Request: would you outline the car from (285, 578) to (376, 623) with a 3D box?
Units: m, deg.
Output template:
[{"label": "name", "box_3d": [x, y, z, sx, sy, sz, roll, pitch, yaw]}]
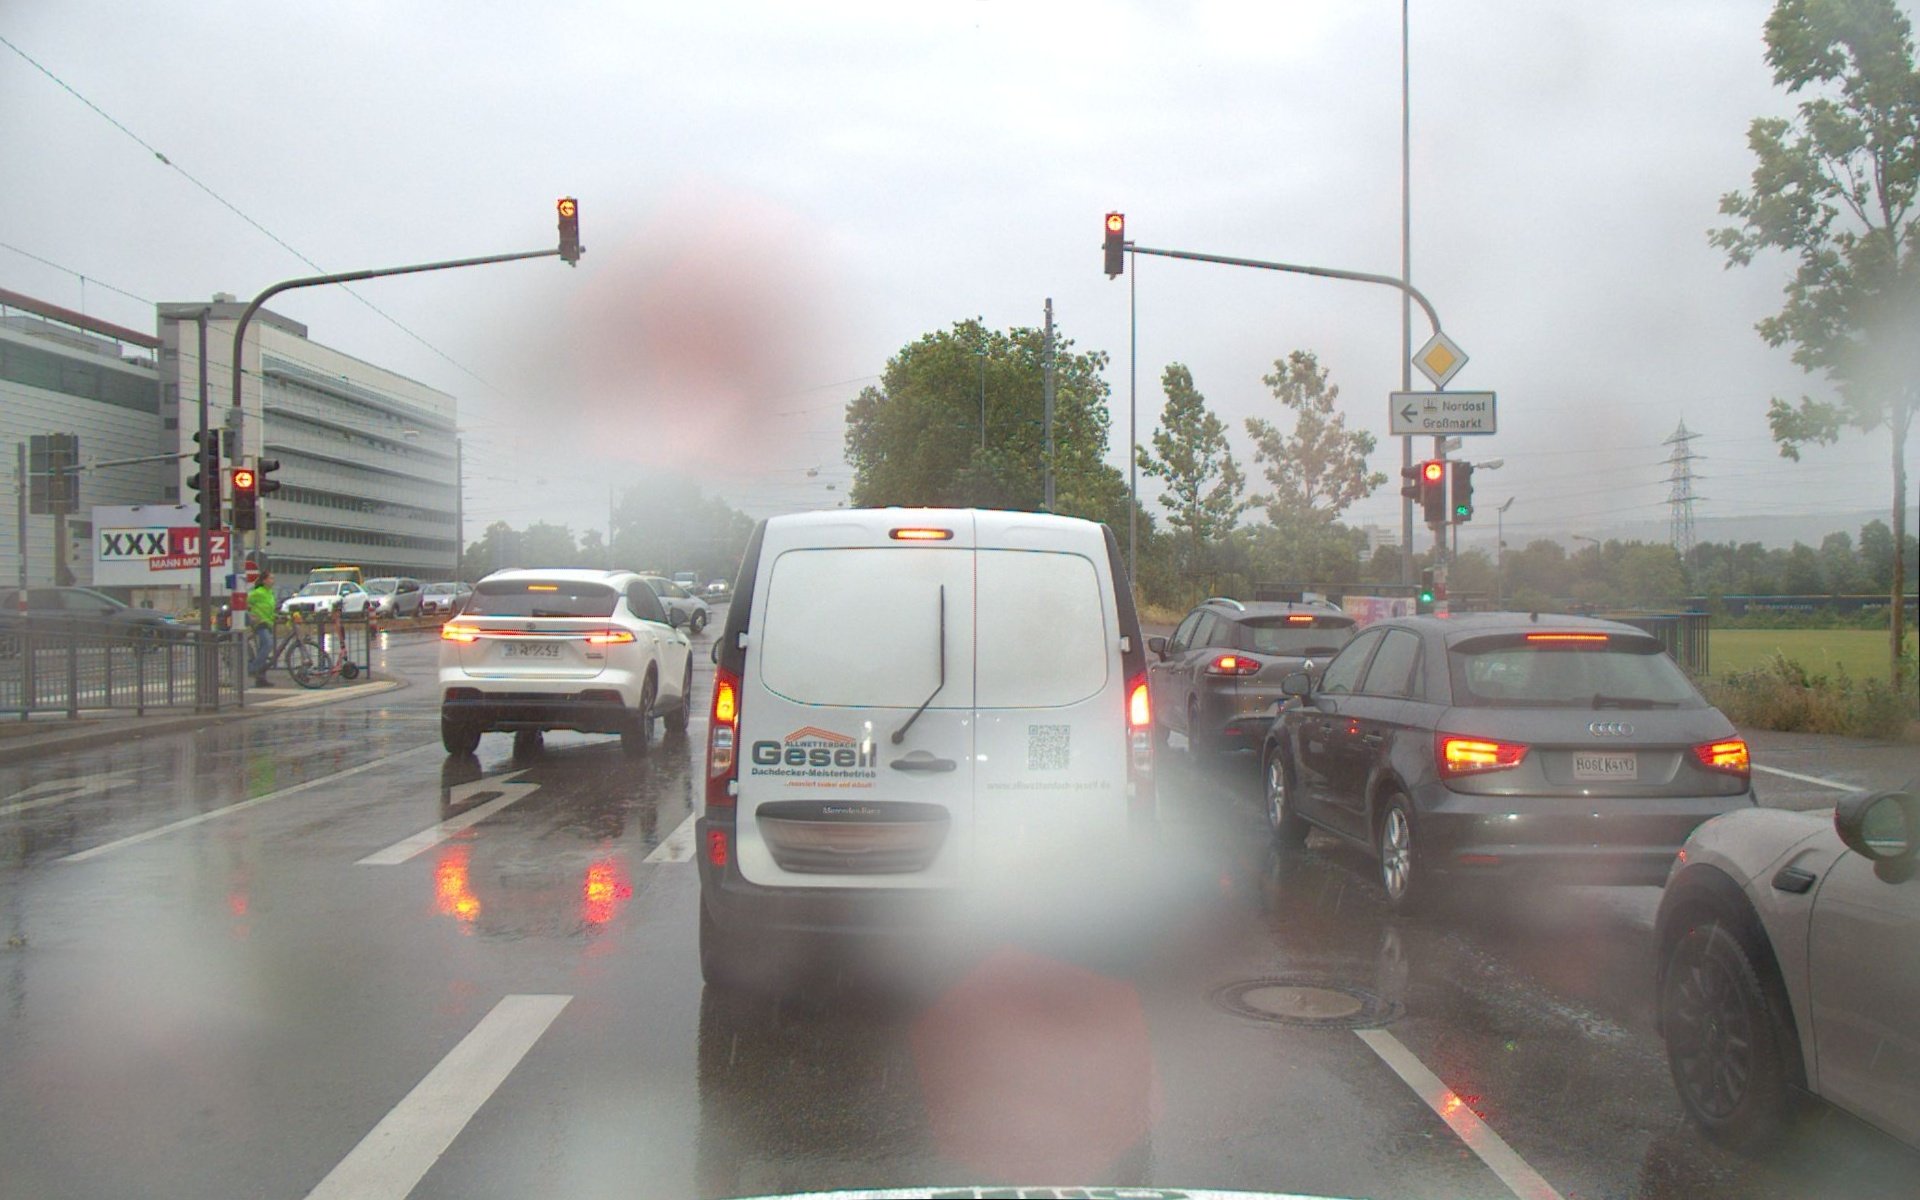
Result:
[{"label": "car", "box_3d": [-21.589, 0.044, 56.854, 1.676, 1.451, 3.808, 2, -1, -1]}]

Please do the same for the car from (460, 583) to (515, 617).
[{"label": "car", "box_3d": [-21.982, 0.023, 77.070, 1.528, 1.451, 3.568, 2, -1, -1]}]

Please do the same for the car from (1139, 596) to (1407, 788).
[{"label": "car", "box_3d": [2.779, 0.756, 15.509, 1.650, 1.534, 3.919, 1, 0, -2]}]

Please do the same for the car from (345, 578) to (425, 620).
[{"label": "car", "box_3d": [-21.767, -0.020, 62.758, 1.676, 1.451, 3.808, 2, -1, -1]}]

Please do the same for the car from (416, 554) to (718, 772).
[{"label": "car", "box_3d": [-3.674, 0.538, 16.353, 1.891, 1.806, 4.663, 1, 0, -1]}]

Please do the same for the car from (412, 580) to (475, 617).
[{"label": "car", "box_3d": [-21.822, -0.041, 69.992, 1.528, 1.451, 3.568, 2, -1, -1]}]

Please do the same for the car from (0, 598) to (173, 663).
[{"label": "car", "box_3d": [-18.656, 0.645, 35.108, 3.482, 1.229, 1.428, 3, -1, -27]}]

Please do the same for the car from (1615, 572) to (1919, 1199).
[{"label": "car", "box_3d": [2.934, 0.740, 3.244, 1.668, 1.534, 3.878, 3, -1, -1]}]

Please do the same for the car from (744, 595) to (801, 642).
[{"label": "car", "box_3d": [-6.695, 0.648, 59.307, 1.602, 1.549, 3.774, 4, 0, -1]}]

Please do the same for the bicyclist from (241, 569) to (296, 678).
[{"label": "bicyclist", "box_3d": [-9.812, 0.325, 23.482, 0.593, 1.517, 0.598, 1, 0, -15]}]

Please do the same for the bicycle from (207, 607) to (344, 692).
[{"label": "bicycle", "box_3d": [-9.700, 0.704, 23.483, 1.725, 1.157, 0.518, 1, 0, -16]}]

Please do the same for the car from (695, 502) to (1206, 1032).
[{"label": "car", "box_3d": [-0.172, 0.536, 7.704, 1.719, 1.780, 4.166, 1, 1, -4]}]

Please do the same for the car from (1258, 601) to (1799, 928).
[{"label": "car", "box_3d": [2.797, 0.741, 8.990, 1.565, 1.390, 3.629, -1, -1, -2]}]

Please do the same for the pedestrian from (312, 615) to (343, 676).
[{"label": "pedestrian", "box_3d": [-9.699, 0.698, 25.377, 0.309, 0.913, 0.380, 2, 0, -3]}]

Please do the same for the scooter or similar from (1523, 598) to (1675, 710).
[{"label": "scooter or similar", "box_3d": [7.637, 0.597, 19.950, 0.676, 1.232, 3.020, 0, 0, 0]}]
